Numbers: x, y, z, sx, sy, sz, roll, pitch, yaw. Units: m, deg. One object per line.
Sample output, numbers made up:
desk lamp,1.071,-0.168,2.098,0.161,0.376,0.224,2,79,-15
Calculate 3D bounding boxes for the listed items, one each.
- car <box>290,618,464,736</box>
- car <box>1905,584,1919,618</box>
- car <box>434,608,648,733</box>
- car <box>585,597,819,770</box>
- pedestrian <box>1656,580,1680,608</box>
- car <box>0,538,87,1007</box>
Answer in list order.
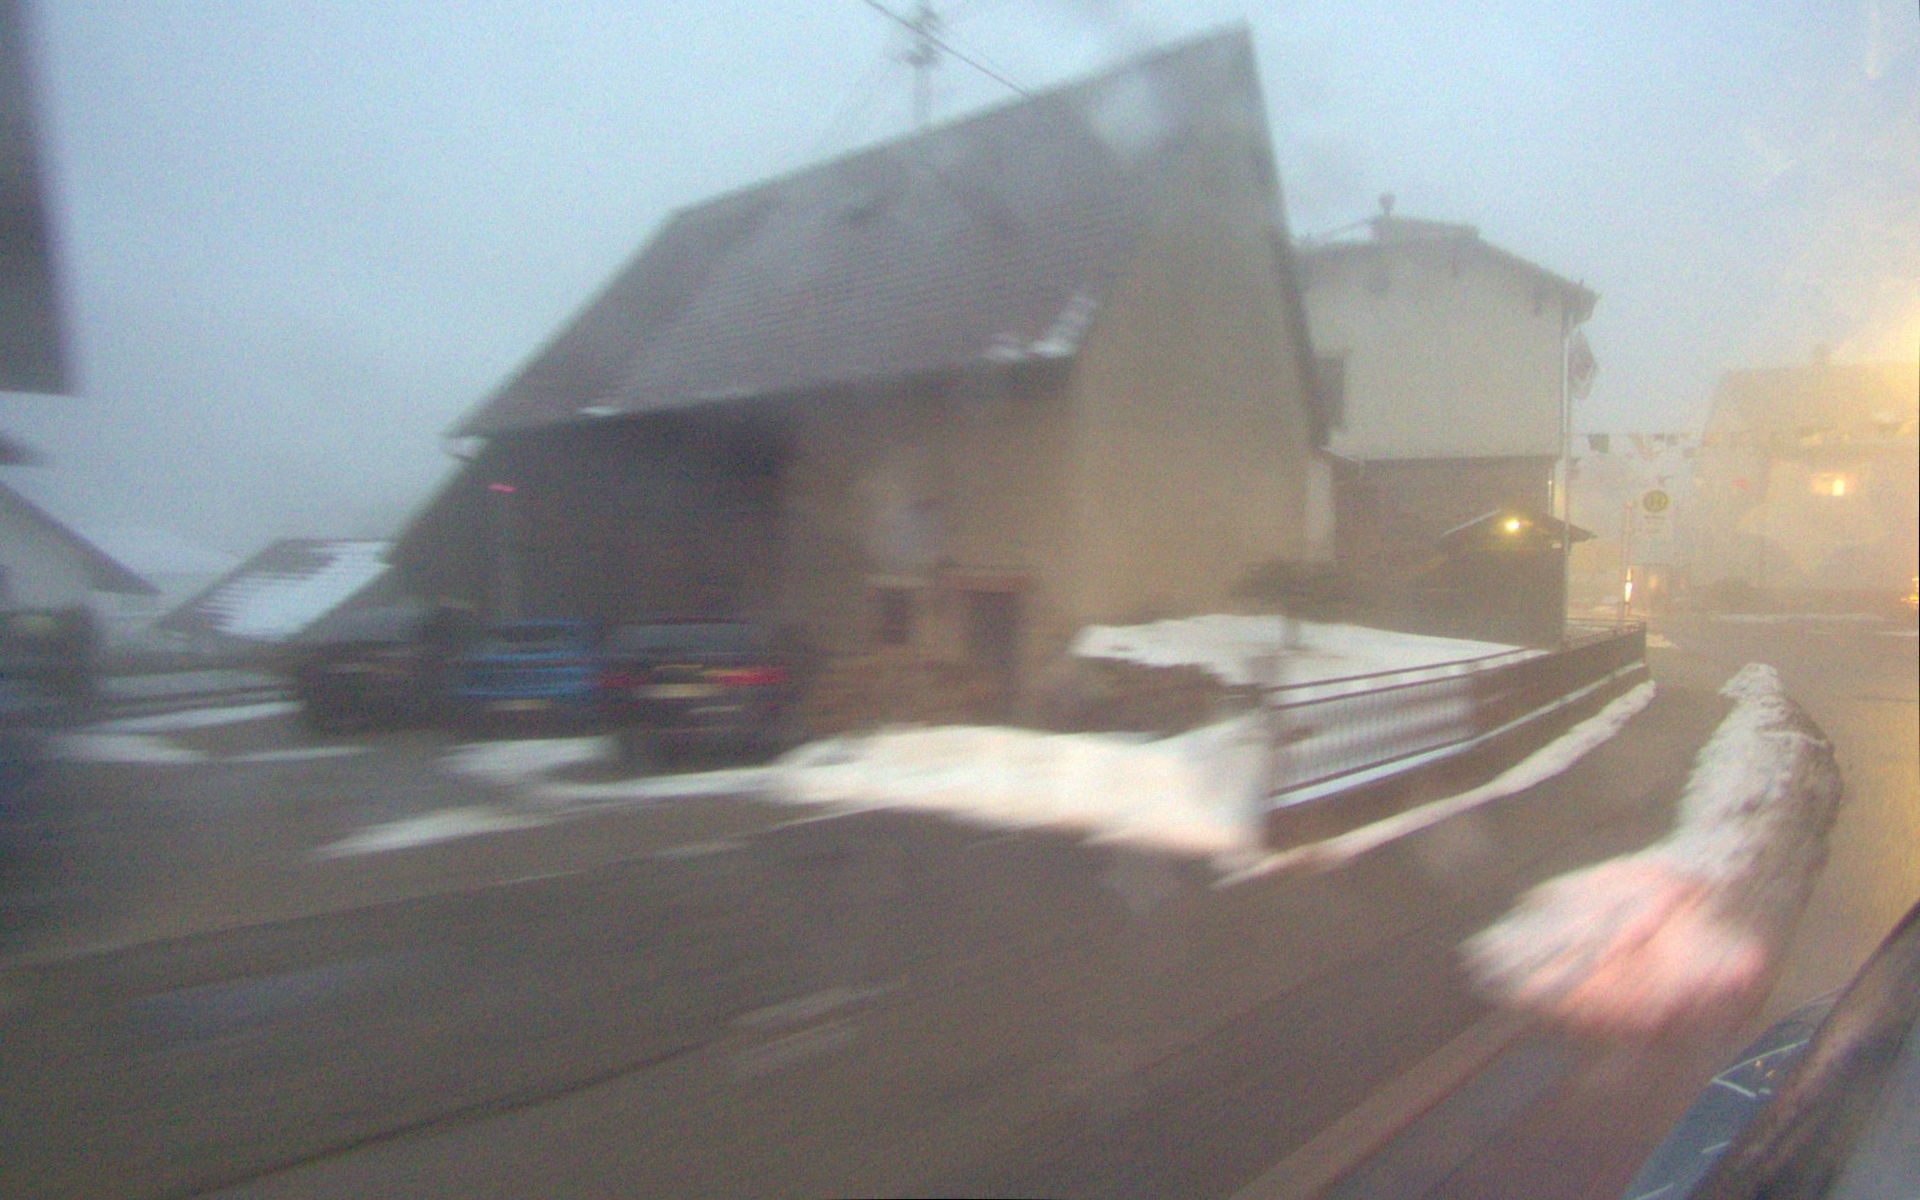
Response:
car,-8.143,1.019,14.417,1.530,1.434,3.396,-1,-2,-19
car,40.866,0.034,40.759,3.741,1.390,1.615,0,1,21
car,-5.261,0.850,13.149,1.646,1.378,3.393,-1,-2,-5
car,-2.420,0.756,10.419,1.723,1.391,4.002,-1,-2,-5
pedestrian,35.091,-0.310,50.138,0.799,1.346,0.657,0,1,17
car,-5.223,0.632,4.509,1.877,1.616,3.995,-1,0,-39
